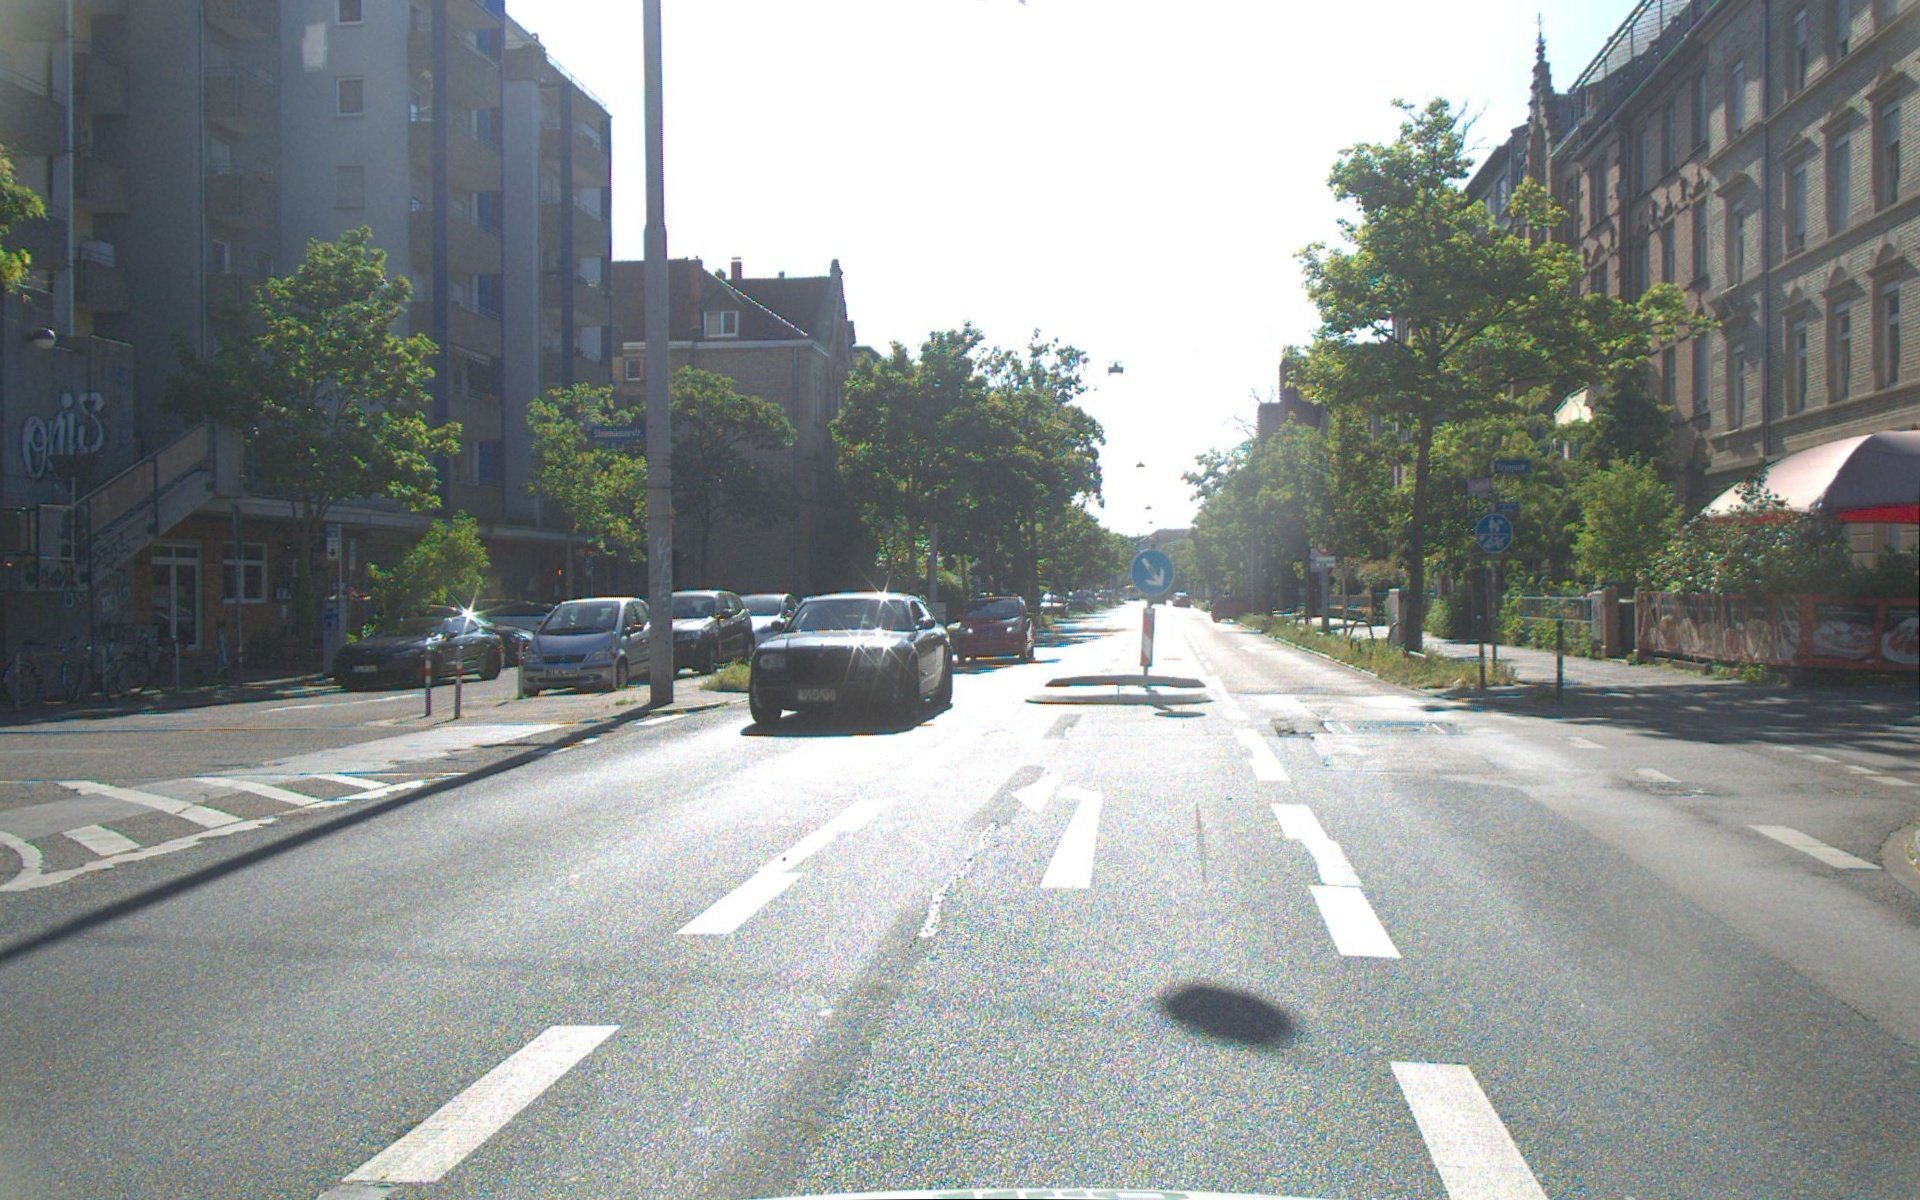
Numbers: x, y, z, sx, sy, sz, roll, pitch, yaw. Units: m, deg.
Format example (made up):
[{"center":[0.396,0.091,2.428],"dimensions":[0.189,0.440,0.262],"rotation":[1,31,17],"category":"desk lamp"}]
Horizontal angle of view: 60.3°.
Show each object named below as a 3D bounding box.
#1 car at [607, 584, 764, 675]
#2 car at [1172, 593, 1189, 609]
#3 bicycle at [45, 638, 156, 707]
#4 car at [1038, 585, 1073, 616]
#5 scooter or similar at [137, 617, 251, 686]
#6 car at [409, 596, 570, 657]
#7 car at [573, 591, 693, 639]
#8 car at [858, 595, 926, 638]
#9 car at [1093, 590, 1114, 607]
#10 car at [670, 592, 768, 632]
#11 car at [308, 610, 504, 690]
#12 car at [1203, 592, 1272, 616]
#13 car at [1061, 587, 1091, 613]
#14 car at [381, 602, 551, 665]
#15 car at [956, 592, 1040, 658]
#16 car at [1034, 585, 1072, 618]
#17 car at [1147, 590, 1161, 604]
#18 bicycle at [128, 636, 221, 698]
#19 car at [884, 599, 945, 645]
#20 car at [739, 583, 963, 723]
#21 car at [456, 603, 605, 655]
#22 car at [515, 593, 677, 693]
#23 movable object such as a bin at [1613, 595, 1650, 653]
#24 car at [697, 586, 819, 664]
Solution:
[{"center":[-5.398,0.539,33.120],"dimensions":[1.828,1.656,4.508],"rotation":[-1,0,8],"category":"car"},{"center":[25.316,0.101,189.595],"dimensions":[1.909,1.738,4.003],"rotation":[-1,0,8],"category":"car"},{"center":[-14.463,1.203,27.885],"dimensions":[0.406,1.049,1.801],"rotation":[2,1,23],"category":"bicycle"},{"center":[6.505,0.038,112.443],"dimensions":[1.951,2.049,4.209],"rotation":[-1,0,9],"category":"car"},{"center":[-14.991,0.998,32.377],"dimensions":[1.926,1.299,0.631],"rotation":[-1,1,2],"category":"scooter or similar"},{"center":[-13.101,0.724,46.218],"dimensions":[3.903,1.635,1.842],"rotation":[-1,0,3],"category":"car"},{"center":[-11.665,0.520,59.179],"dimensions":[3.903,1.658,1.688],"rotation":[-1,0,3],"category":"car"},{"center":[-2.322,0.547,57.404],"dimensions":[1.717,1.422,4.003],"rotation":[-1,0,7],"category":"car"},{"center":[15.838,-0.173,182.242],"dimensions":[1.951,1.725,4.004],"rotation":[-1,0,9],"category":"car"},{"center":[-10.344,0.488,71.157],"dimensions":[3.903,1.658,1.688],"rotation":[-1,0,3],"category":"car"},{"center":[-11.082,0.961,33.474],"dimensions":[1.850,1.422,4.533],"rotation":[-1,0,9],"category":"car"},{"center":[15.369,0.223,91.596],"dimensions":[3.969,1.244,1.774],"rotation":[-1,0,-44],"category":"car"},{"center":[9.381,0.005,133.461],"dimensions":[2.017,2.049,4.633],"rotation":[-1,0,9],"category":"car"},{"center":[-12.985,0.870,43.633],"dimensions":[3.903,1.578,1.771],"rotation":[-1,0,3],"category":"car"},{"center":[0.929,0.551,38.573],"dimensions":[1.616,1.453,3.510],"rotation":[-1,0,6],"category":"car"},{"center":[6.003,0.060,106.032],"dimensions":[1.951,2.049,4.209],"rotation":[-1,0,9],"category":"car"},{"center":[25.732,-0.433,218.995],"dimensions":[1.720,1.815,4.003],"rotation":[-1,0,8],"category":"car"},{"center":[-14.136,1.191,29.811],"dimensions":[0.405,1.018,1.803],"rotation":[2,1,16],"category":"bicycle"},{"center":[-1.688,0.811,62.777],"dimensions":[1.725,1.675,4.003],"rotation":[-1,0,7],"category":"car"},{"center":[-1.186,0.568,20.201],"dimensions":[1.826,1.484,4.597],"rotation":[-1,0,8],"category":"car"},{"center":[-12.642,0.854,48.822],"dimensions":[3.903,1.449,1.688],"rotation":[-1,0,3],"category":"car"},{"center":[-6.079,0.672,27.997],"dimensions":[1.683,1.545,3.534],"rotation":[-2,0,4],"category":"car"},{"center":[13.427,0.474,33.098],"dimensions":[0.556,1.153,0.552],"rotation":[-1,0,8],"category":"movable object such as a bin"},{"center":[-4.777,0.555,39.754],"dimensions":[1.848,1.691,4.534],"rotation":[-3,0,6],"category":"car"}]
